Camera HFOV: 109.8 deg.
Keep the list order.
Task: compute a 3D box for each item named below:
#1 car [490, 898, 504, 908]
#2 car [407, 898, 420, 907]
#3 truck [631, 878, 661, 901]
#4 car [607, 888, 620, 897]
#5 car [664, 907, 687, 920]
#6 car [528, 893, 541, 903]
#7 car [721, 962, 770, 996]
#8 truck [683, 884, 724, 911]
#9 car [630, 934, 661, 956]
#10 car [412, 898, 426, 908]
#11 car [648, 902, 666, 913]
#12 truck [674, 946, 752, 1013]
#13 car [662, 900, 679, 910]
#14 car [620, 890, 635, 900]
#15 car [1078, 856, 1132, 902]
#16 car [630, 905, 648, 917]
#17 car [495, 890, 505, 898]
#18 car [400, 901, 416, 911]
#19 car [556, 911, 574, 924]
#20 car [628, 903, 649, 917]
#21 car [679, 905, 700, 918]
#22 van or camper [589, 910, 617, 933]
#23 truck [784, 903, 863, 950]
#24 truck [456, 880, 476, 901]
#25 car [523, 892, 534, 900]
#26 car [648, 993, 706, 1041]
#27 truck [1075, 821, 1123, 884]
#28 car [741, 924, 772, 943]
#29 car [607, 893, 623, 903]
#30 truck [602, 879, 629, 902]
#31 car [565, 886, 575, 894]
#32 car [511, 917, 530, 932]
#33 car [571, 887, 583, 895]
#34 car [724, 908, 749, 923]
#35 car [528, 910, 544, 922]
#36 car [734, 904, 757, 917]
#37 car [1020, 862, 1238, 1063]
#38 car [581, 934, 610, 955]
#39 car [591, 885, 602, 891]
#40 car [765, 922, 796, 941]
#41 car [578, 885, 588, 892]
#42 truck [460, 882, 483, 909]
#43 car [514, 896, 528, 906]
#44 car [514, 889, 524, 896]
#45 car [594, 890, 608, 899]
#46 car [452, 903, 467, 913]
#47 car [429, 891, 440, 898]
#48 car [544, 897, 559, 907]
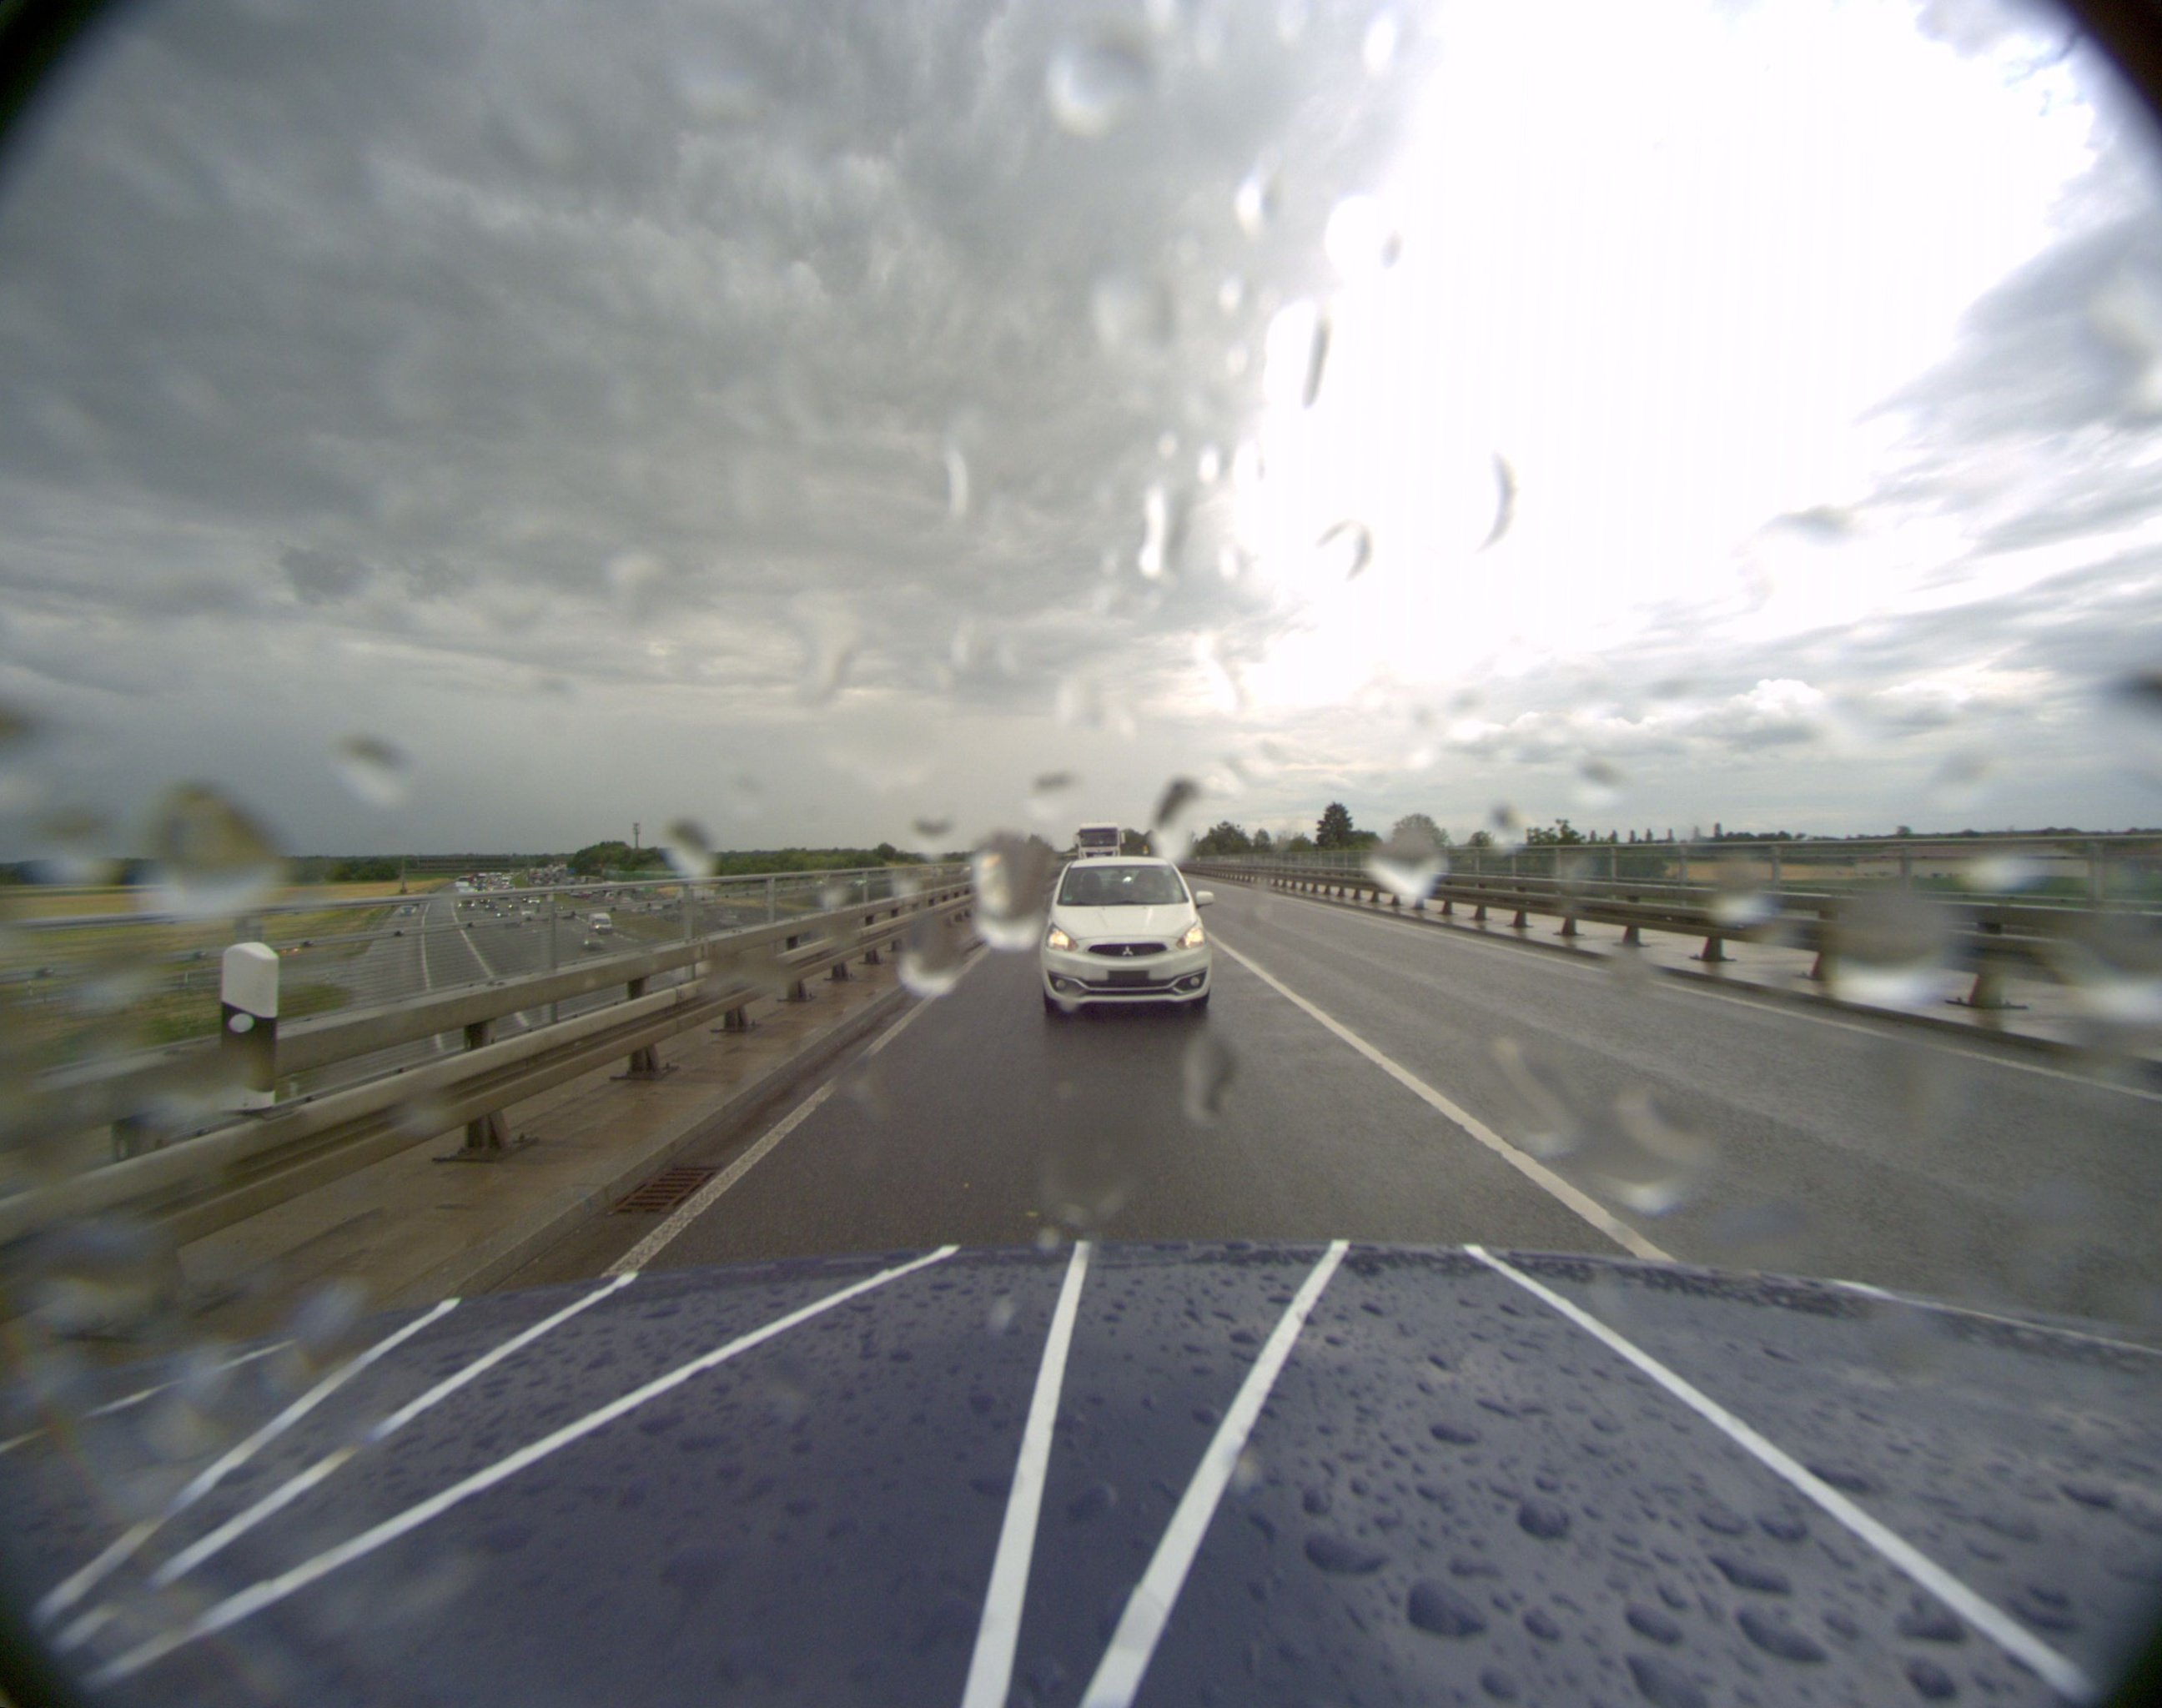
[{"bbox_3d":[-109.155,9.189,142.039,1.860,1.659,4.712,-3,1,-40],"label":"car"},{"bbox_3d":[-137.831,10.002,156.894,1.860,1.659,4.712,-3,1,-40],"label":"car"},{"bbox_3d":[-105.861,8.577,184.577,3.302,5.135,15.588,-3,1,-40],"label":"truck"},{"bbox_3d":[-106.667,8.810,173.210,1.860,1.764,4.712,-3,1,-40],"label":"car"},{"bbox_3d":[-58.232,8.528,109.101,1.860,1.659,4.712,-3,1,-40],"label":"car"},{"bbox_3d":[-114.880,9.231,159.639,1.860,1.659,4.712,-3,1,-40],"label":"car"},{"bbox_3d":[-23.781,8.820,53.784,1.818,1.659,4.712,-3,1,-40],"label":"car"},{"bbox_3d":[-71.670,8.050,143.932,3.610,4.511,15.589,-3,1,-39],"label":"truck"},{"bbox_3d":[-42.911,8.916,74.834,1.818,1.659,4.712,-3,1,-40],"label":"car"},{"bbox_3d":[-126.968,9.427,145.827,1.860,1.659,4.712,-3,1,-40],"label":"car"},{"bbox_3d":[-76.626,9.624,137.249,1.860,1.659,4.712,-3,1,-40],"label":"car"},{"bbox_3d":[-24.504,8.145,50.307,2.601,3.161,8.374,-3,1,-39],"label":"truck"},{"bbox_3d":[-79.089,9.802,146.353,1.860,1.659,4.712,-3,1,-40],"label":"car"},{"bbox_3d":[-92.987,8.401,155.690,1.860,1.659,4.712,-3,1,-40],"label":"car"},{"bbox_3d":[0.800,0.814,26.529,1.675,1.366,4.129,-2,0,1],"label":"car"},{"bbox_3d":[-74.824,9.677,128.550,1.860,1.659,4.712,-3,1,-40],"label":"car"},{"bbox_3d":[-148.026,10.182,193.505,1.860,1.659,4.712,-3,1,-40],"label":"car"},{"bbox_3d":[-113.716,8.753,128.431,1.818,1.427,4.712,-3,1,-41],"label":"car"},{"bbox_3d":[-81.614,10.066,120.135,1.860,1.659,4.712,-3,1,-40],"label":"car"},{"bbox_3d":[-64.786,8.172,111.270,1.860,1.659,4.712,-3,1,-40],"label":"car"},{"bbox_3d":[-60.308,8.803,117.084,1.860,1.659,4.712,-3,1,-40],"label":"car"},{"bbox_3d":[-61.428,8.580,97.579,2.063,2.436,7.311,-3,1,-40],"label":"van or camper"},{"bbox_3d":[-30.931,8.415,90.513,3.610,4.511,15.589,-3,1,-39],"label":"truck"},{"bbox_3d":[-146.930,8.668,181.569,2.799,4.591,12.724,-3,1,-36],"label":"truck"},{"bbox_3d":[-137.912,10.421,189.492,1.860,1.659,4.712,-3,1,-40],"label":"car"},{"bbox_3d":[-22.253,8.899,41.753,1.818,1.659,4.712,-3,1,-40],"label":"car"},{"bbox_3d":[1.029,-0.247,47.884,2.630,3.537,8.474,-2,2,0],"label":"truck"},{"bbox_3d":[-35.981,8.771,84.251,1.860,1.659,4.712,-3,1,-40],"label":"car"},{"bbox_3d":[-90.743,8.495,147.926,1.860,1.659,4.712,-3,1,-40],"label":"car"},{"bbox_3d":[-117.634,8.995,191.699,3.302,5.411,15.588,-3,1,-40],"label":"truck"},{"bbox_3d":[-137.485,9.675,204.371,1.860,1.764,4.712,-3,1,-40],"label":"car"},{"bbox_3d":[-77.890,9.719,105.585,1.860,1.659,4.712,-3,1,-40],"label":"car"},{"bbox_3d":[-122.626,9.020,184.812,1.860,1.764,4.712,-3,1,-40],"label":"car"},{"bbox_3d":[-46.555,8.297,102.517,1.860,1.659,4.712,-3,1,-40],"label":"car"},{"bbox_3d":[-89.981,10.202,125.411,1.860,1.659,4.712,-3,1,-40],"label":"car"},{"bbox_3d":[-50.689,8.442,114.724,1.860,1.659,4.712,-3,1,-40],"label":"car"},{"bbox_3d":[0.417,0.891,8.119,1.675,1.476,4.129,-2,0,1],"label":"car"},{"bbox_3d":[-50.569,9.357,79.117,1.818,1.659,4.712,-3,1,-40],"label":"car"},{"bbox_3d":[-138.744,9.730,217.629,1.860,1.764,4.712,-3,1,-40],"label":"car"},{"bbox_3d":[-34.478,8.856,87.234,1.860,1.659,4.712,-3,1,-40],"label":"car"},{"bbox_3d":[-142.302,9.890,217.072,1.860,1.764,4.712,-3,1,-40],"label":"car"},{"bbox_3d":[-119.108,8.049,148.620,2.799,4.871,12.724,-3,1,-36],"label":"truck"},{"bbox_3d":[-107.902,9.054,146.317,1.860,1.659,4.712,-3,1,-40],"label":"car"},{"bbox_3d":[-147.241,10.118,198.981,1.860,1.659,4.712,-3,1,-40],"label":"car"},{"bbox_3d":[-103.086,8.642,163.203,1.860,1.659,4.712,-3,1,-40],"label":"car"},{"bbox_3d":[-108.700,9.454,132.911,1.818,1.427,4.712,-3,1,-41],"label":"car"},{"bbox_3d":[-156.655,9.749,184.051,1.818,1.427,4.712,-3,1,-41],"label":"car"},{"bbox_3d":[-97.694,8.807,140.207,1.860,1.659,4.712,-3,1,-40],"label":"car"}]
